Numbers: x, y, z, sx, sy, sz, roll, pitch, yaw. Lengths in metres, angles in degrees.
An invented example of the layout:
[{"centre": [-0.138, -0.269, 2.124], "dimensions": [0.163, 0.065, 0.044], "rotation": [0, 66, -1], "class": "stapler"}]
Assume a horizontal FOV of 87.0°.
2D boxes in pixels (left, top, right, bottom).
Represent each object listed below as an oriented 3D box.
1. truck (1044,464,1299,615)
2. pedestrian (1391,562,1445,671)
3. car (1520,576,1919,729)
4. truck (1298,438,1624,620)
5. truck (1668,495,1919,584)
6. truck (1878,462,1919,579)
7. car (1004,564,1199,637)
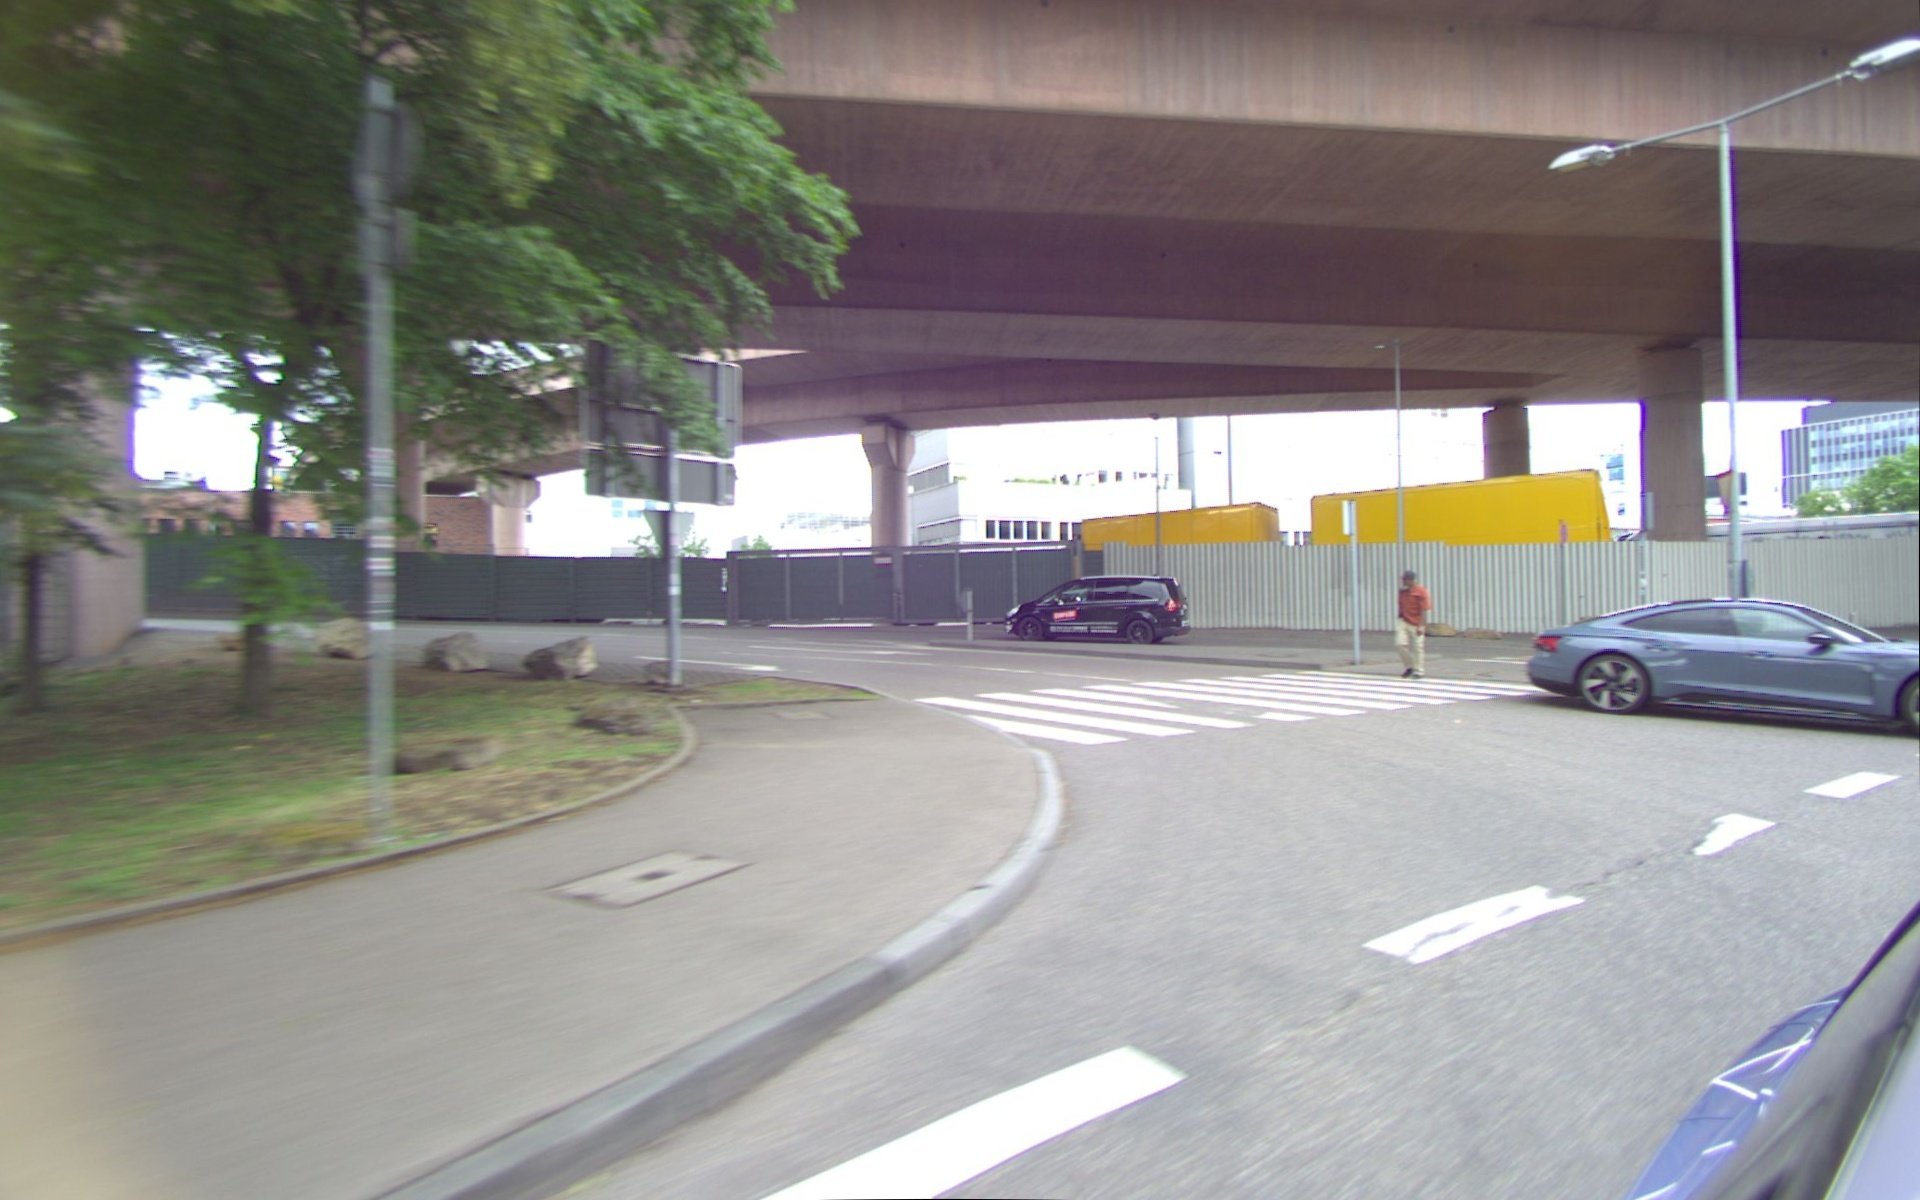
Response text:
[{"centre": [7.658, -2.008, 37.361], "dimensions": [8.663, 4.965, 3.107], "rotation": [-1, 0, 36], "class": "truck"}, {"centre": [7.280, 0.245, 16.085], "dimensions": [0.546, 1.697, 0.539], "rotation": [0, 1, -18], "class": "pedestrian"}, {"centre": [9.538, 0.513, 11.818], "dimensions": [4.913, 1.520, 2.141], "rotation": [0, 2, 42], "class": "car"}, {"centre": [15.435, -1.925, 31.604], "dimensions": [8.663, 4.979, 3.107], "rotation": [-1, 0, 36], "class": "truck"}, {"centre": [31.063, -2.189, 36.761], "dimensions": [8.668, 2.978, 3.108], "rotation": [2, 5, 37], "class": "truck"}, {"centre": [41.233, -3.129, 37.985], "dimensions": [9.660, 4.498, 3.110], "rotation": [0, 2, 35], "class": "truck"}, {"centre": [3.576, -0.006, 25.507], "dimensions": [4.509, 1.700, 1.985], "rotation": [0, 2, 24], "class": "car"}]
